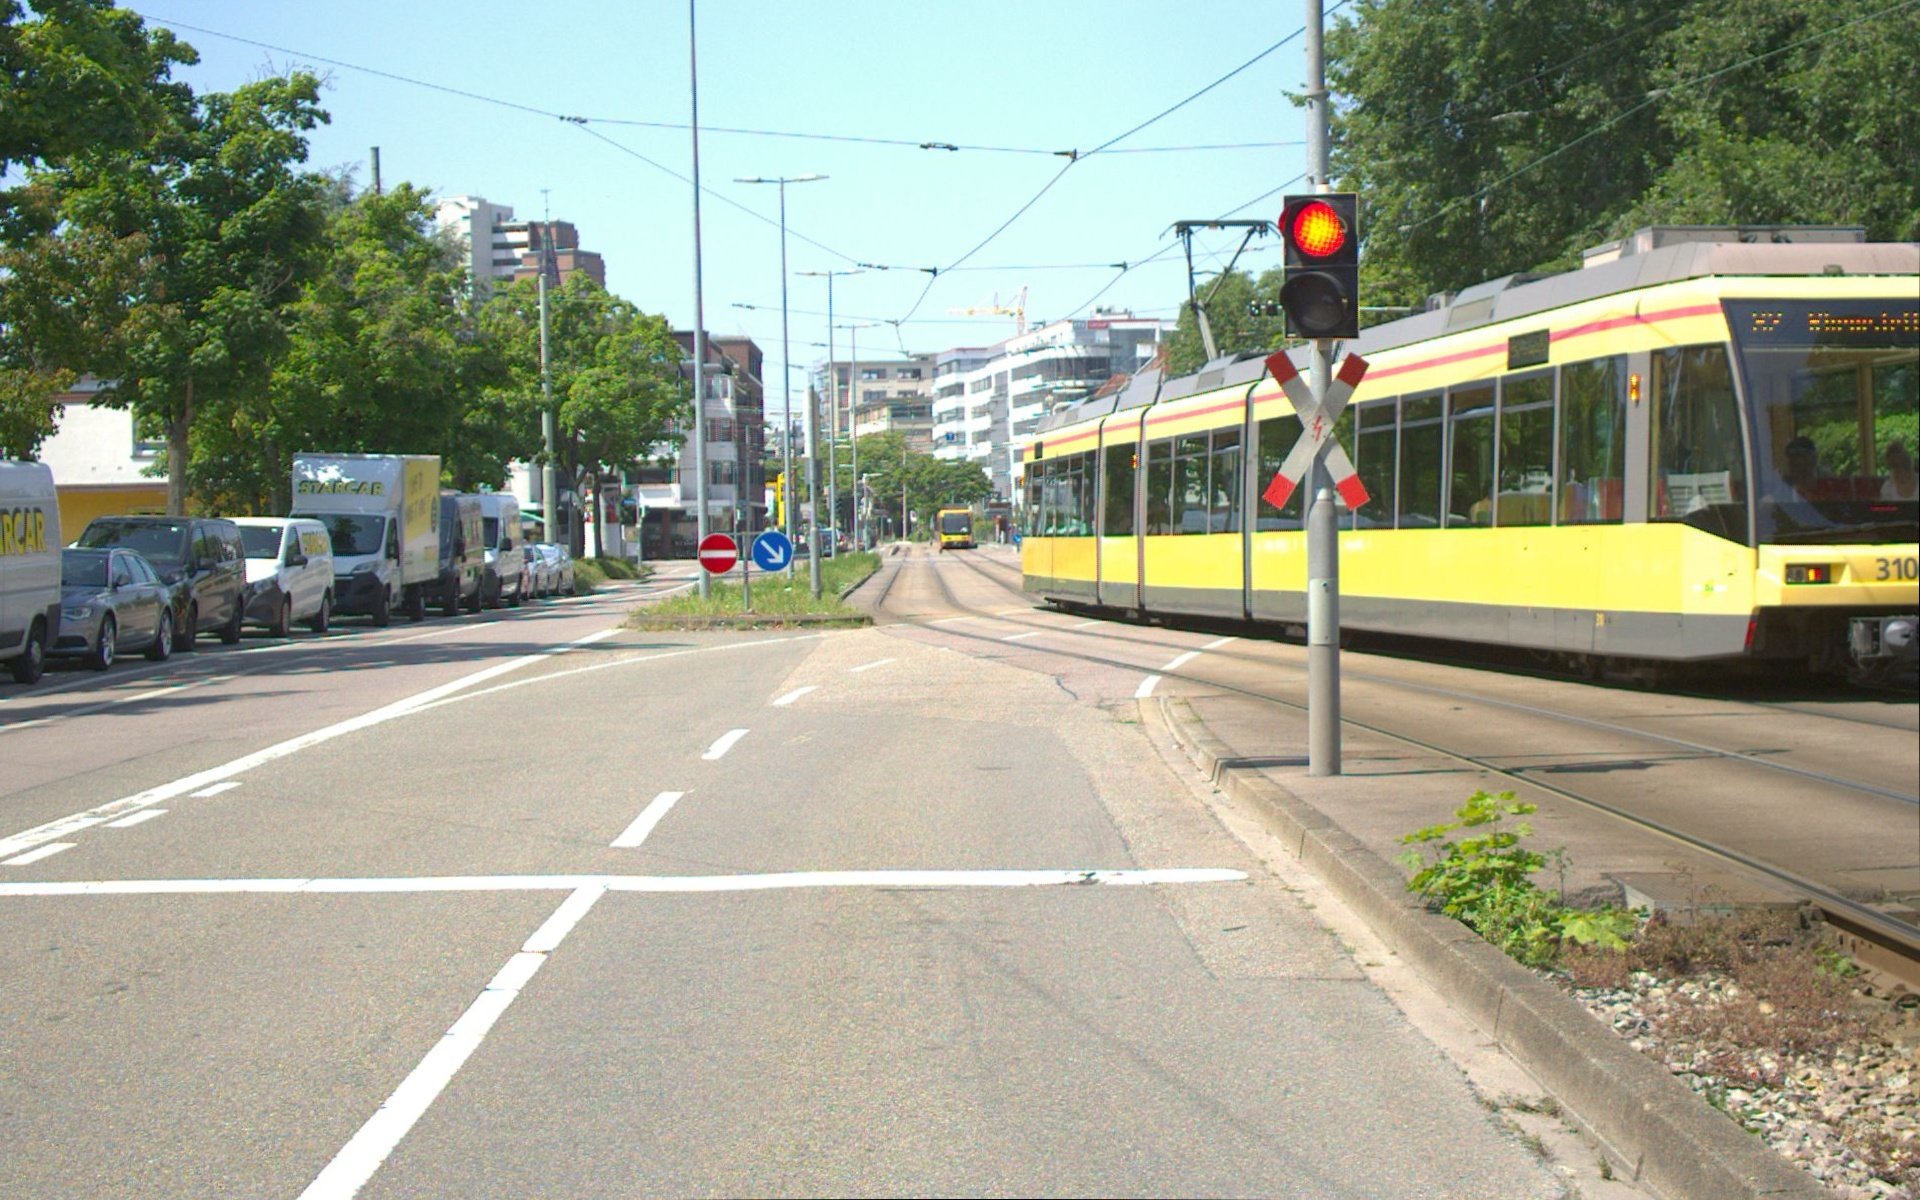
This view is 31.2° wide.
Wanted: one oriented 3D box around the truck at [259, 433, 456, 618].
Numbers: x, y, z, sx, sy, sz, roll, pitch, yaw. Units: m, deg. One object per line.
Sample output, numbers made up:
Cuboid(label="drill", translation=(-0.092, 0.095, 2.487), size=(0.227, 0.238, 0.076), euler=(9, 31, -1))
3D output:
Cuboid(label="truck", translation=(-11.213, -1.411, 64.537), size=(2.157, 3.199, 7.082), euler=(2, 2, 2))

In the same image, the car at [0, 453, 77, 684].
Cuboid(label="car", translation=(-11.337, -0.362, 36.361), size=(2.157, 2.478, 6.193), euler=(2, 2, 2))

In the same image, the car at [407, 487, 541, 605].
Cuboid(label="car", translation=(-11.201, -1.283, 79.651), size=(2.157, 2.630, 5.611), euler=(0, 1, 2))

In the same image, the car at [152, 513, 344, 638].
Cuboid(label="car", translation=(-11.524, -0.438, 55.939), size=(2.061, 1.891, 4.871), euler=(-1, 1, 0))

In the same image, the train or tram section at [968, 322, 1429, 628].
Cuboid(label="train or tram section", translation=(2.918, -1.777, 51.615), size=(2.943, 3.679, 20.289), euler=(0, 2, -7))

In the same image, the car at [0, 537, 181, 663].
Cuboid(label="car", translation=(-11.166, -0.029, 42.883), size=(1.868, 1.432, 4.343), euler=(-1, 1, 0))

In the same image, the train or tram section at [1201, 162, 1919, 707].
Cuboid(label="train or tram section", translation=(5.399, -1.368, 32.493), size=(2.943, 3.679, 18.394), euler=(0, 2, -6))

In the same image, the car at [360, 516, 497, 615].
Cuboid(label="car", translation=(-11.079, -0.758, 71.999), size=(2.061, 1.970, 4.871), euler=(-1, 1, 0))

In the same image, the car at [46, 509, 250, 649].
Cuboid(label="car", translation=(-11.607, -0.338, 49.384), size=(1.868, 1.888, 4.271), euler=(-1, 1, 0))
